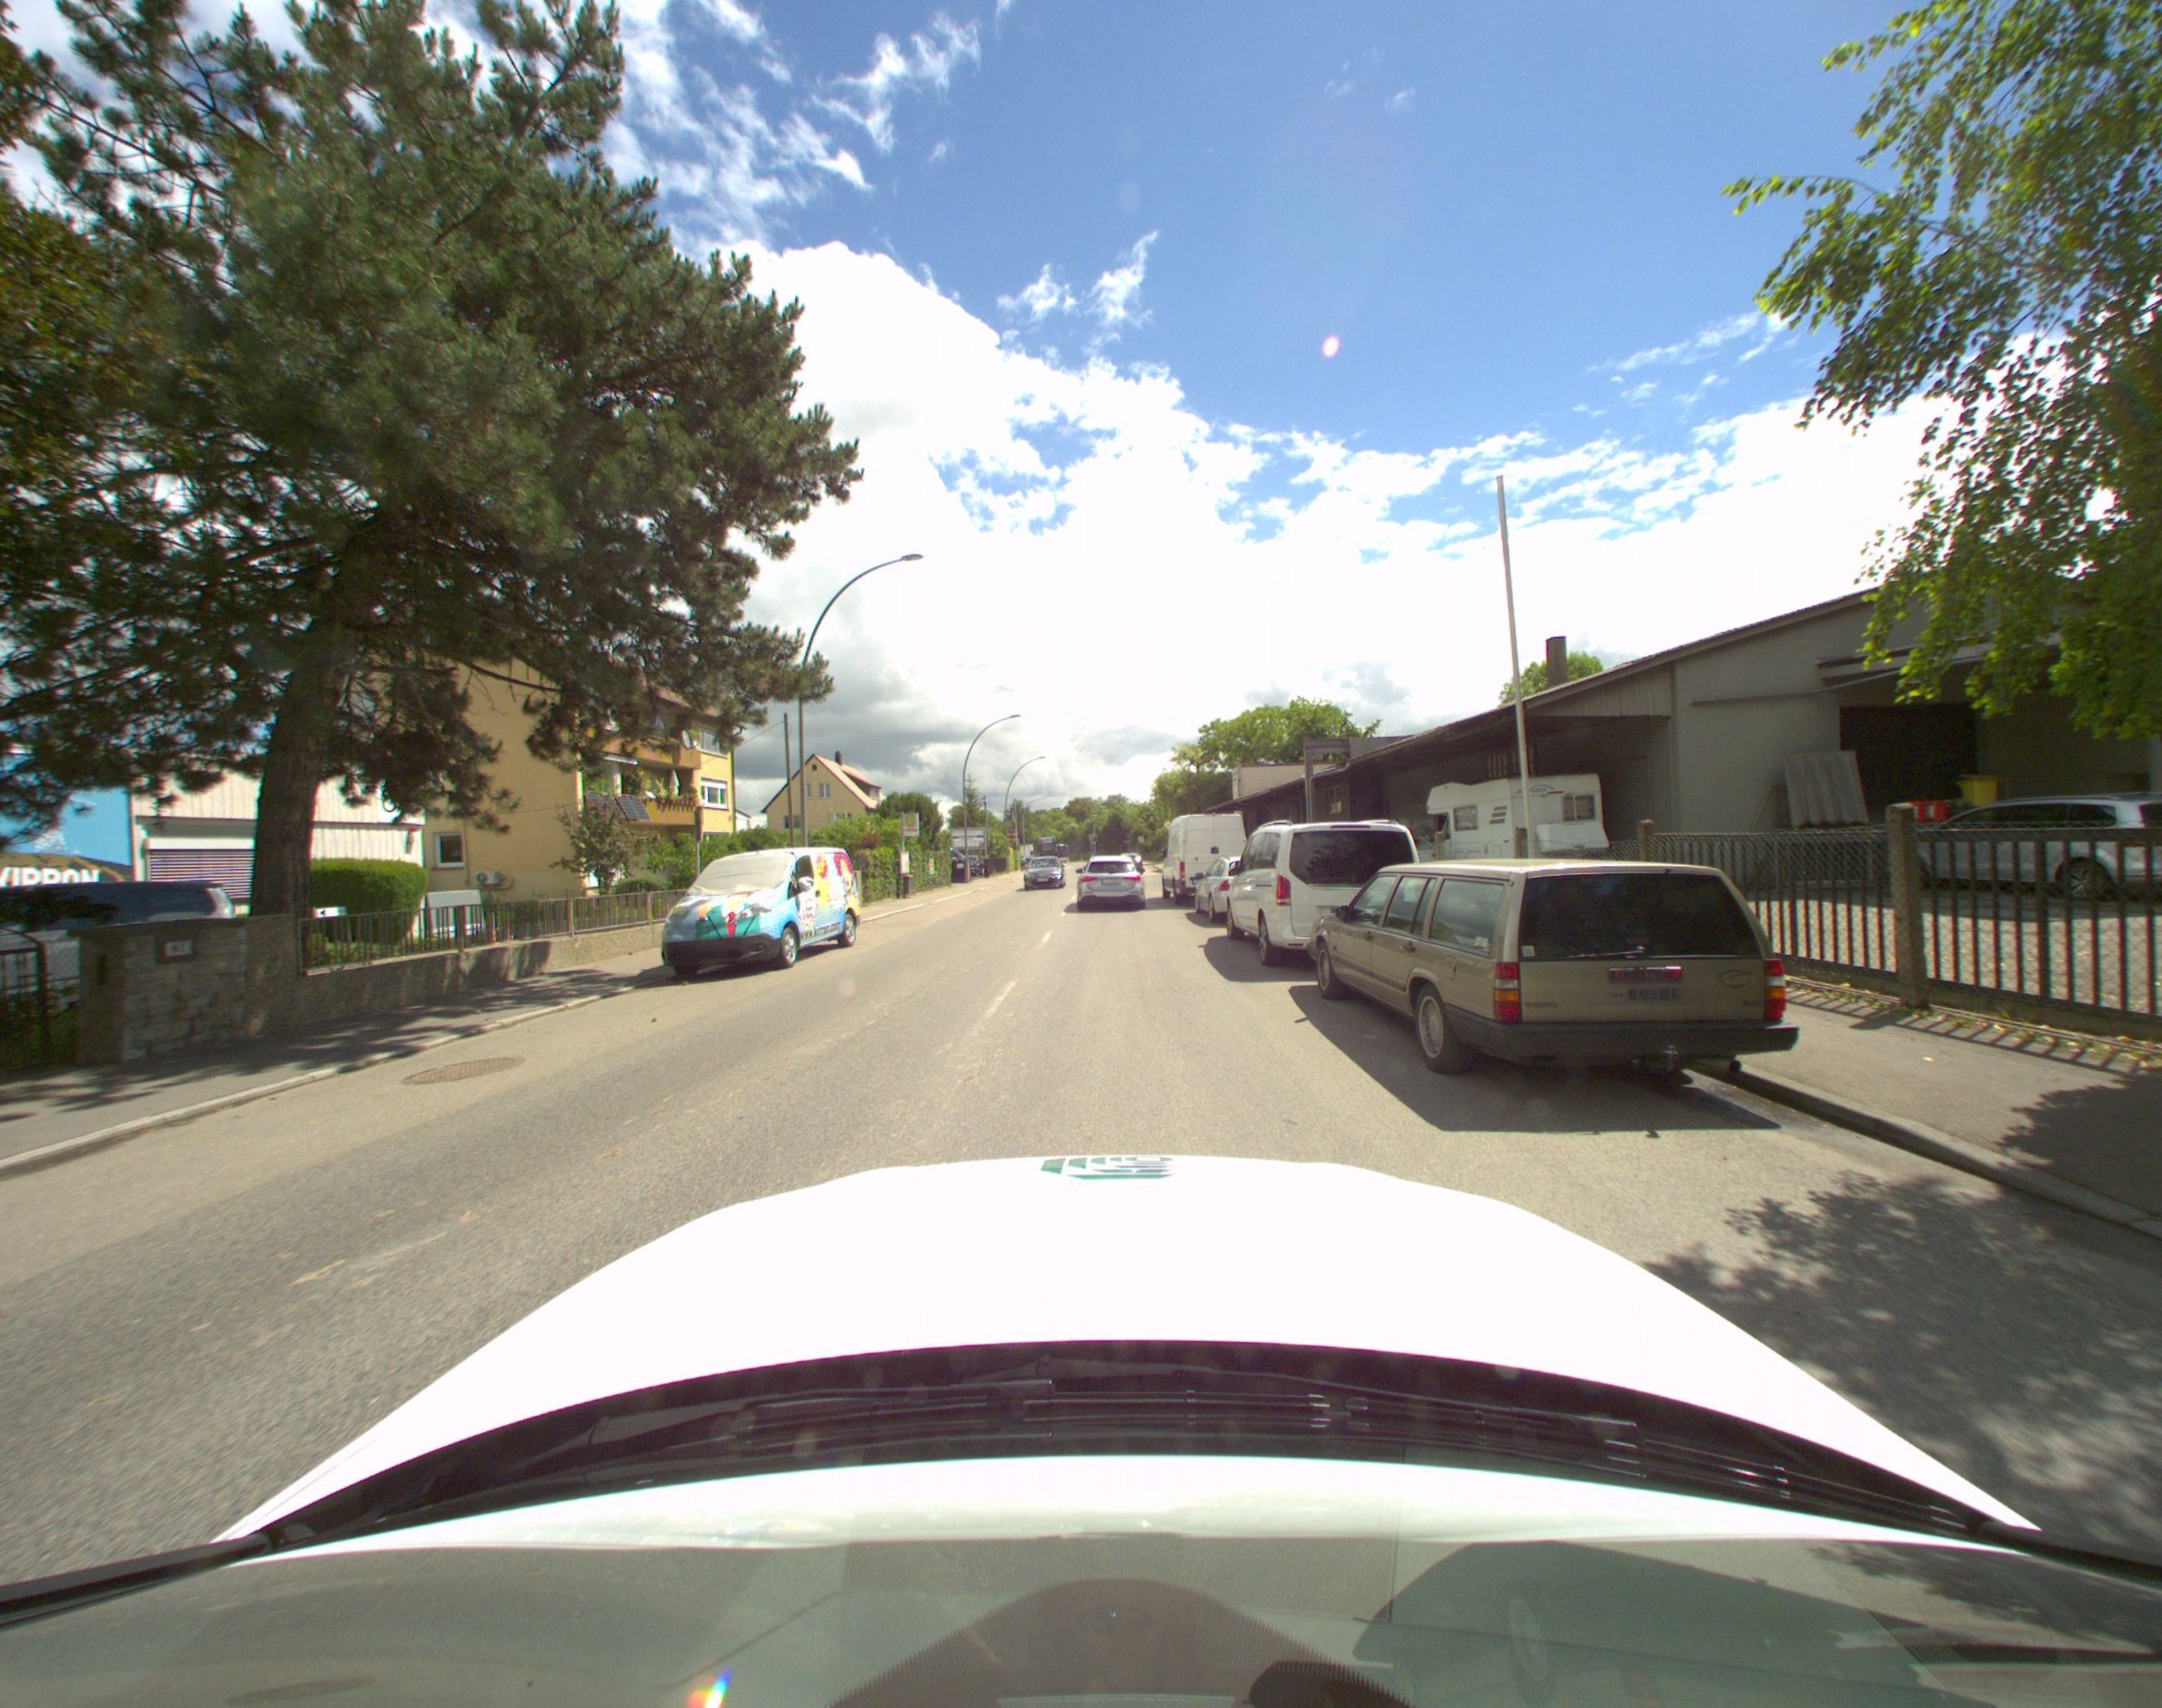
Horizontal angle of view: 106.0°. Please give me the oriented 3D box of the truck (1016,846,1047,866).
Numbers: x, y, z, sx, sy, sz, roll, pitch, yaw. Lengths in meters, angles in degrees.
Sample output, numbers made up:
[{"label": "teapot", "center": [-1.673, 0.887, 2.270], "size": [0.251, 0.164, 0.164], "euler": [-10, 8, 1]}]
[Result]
[{"label": "truck", "center": [-9.498, 0.408, 155.642], "size": [2.852, 3.540, 9.650], "euler": [-3, 0, -22]}]

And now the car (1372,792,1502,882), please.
[{"label": "car", "center": [11.983, -0.581, 27.889], "size": [2.011, 2.681, 5.498], "euler": [-2, 1, 0]}]

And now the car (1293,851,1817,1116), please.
[{"label": "car", "center": [3.248, 0.708, 6.967], "size": [1.748, 1.450, 4.997], "euler": [0, 0, 2]}]

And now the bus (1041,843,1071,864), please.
[{"label": "bus", "center": [-4.224, 0.033, 136.306], "size": [2.780, 3.266, 12.073], "euler": [-3, 0, -12]}]

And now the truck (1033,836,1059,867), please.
[{"label": "truck", "center": [-4.909, -0.268, 112.383], "size": [2.429, 4.131, 9.119], "euler": [0, -1, -10]}]

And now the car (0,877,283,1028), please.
[{"label": "car", "center": [-14.800, 1.357, 11.199], "size": [2.072, 1.830, 5.481], "euler": [-3, 0, 1]}]

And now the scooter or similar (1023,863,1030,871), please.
[{"label": "scooter or similar", "center": [-5.261, 1.270, 79.241], "size": [0.609, 0.831, 0.659], "euler": [-1, 0, 2]}]

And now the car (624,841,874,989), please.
[{"label": "car", "center": [-5.162, 0.803, 13.575], "size": [1.826, 1.853, 4.898], "euler": [-6, 1, 2]}]

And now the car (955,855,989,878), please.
[{"label": "car", "center": [-8.359, 0.933, 62.638], "size": [2.025, 1.595, 4.282], "euler": [-3, 0, -1]}]

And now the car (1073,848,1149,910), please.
[{"label": "car", "center": [0.849, 0.641, 22.739], "size": [1.877, 1.508, 4.002], "euler": [-2, 0, 2]}]

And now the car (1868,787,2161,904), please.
[{"label": "car", "center": [17.308, -0.238, 14.667], "size": [1.810, 1.751, 4.817], "euler": [-2, 2, 3]}]

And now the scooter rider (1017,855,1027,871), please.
[{"label": "scooter rider", "center": [-5.766, 0.891, 79.748], "size": [0.875, 1.589, 0.796], "euler": [-2, 0, 2]}]

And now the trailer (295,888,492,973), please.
[{"label": "trailer", "center": [-21.894, 2.377, 26.115], "size": [3.976, 1.884, 2.459], "euler": [-9, 0, -1]}]

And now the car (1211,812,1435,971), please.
[{"label": "car", "center": [3.337, 0.445, 12.486], "size": [1.898, 1.885, 5.390], "euler": [-1, 0, 1]}]

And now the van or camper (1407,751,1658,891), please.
[{"label": "van or camper", "center": [11.580, -0.745, 21.867], "size": [2.871, 3.060, 6.913], "euler": [-2, 0, 1]}]

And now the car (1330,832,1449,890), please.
[{"label": "car", "center": [8.924, 0.157, 24.029], "size": [1.758, 1.489, 4.929], "euler": [-2, 1, 2]}]

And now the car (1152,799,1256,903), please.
[{"label": "car", "center": [3.609, -0.083, 25.324], "size": [2.207, 2.689, 6.658], "euler": [-3, 0, 1]}]

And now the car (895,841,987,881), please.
[{"label": "car", "center": [-9.999, 0.498, 58.711], "size": [6.014, 2.496, 2.478], "euler": [-3, 0, 1]}]

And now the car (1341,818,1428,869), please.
[{"label": "car", "center": [12.795, -0.443, 34.728], "size": [1.986, 1.910, 4.855], "euler": [-2, 1, 2]}]

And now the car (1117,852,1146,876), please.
[{"label": "car", "center": [3.440, 0.662, 55.984], "size": [1.877, 1.508, 4.002], "euler": [-2, 0, 2]}]

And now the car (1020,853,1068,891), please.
[{"label": "car", "center": [-1.641, 0.780, 37.537], "size": [1.894, 1.518, 4.319], "euler": [-3, 0, 1]}]
